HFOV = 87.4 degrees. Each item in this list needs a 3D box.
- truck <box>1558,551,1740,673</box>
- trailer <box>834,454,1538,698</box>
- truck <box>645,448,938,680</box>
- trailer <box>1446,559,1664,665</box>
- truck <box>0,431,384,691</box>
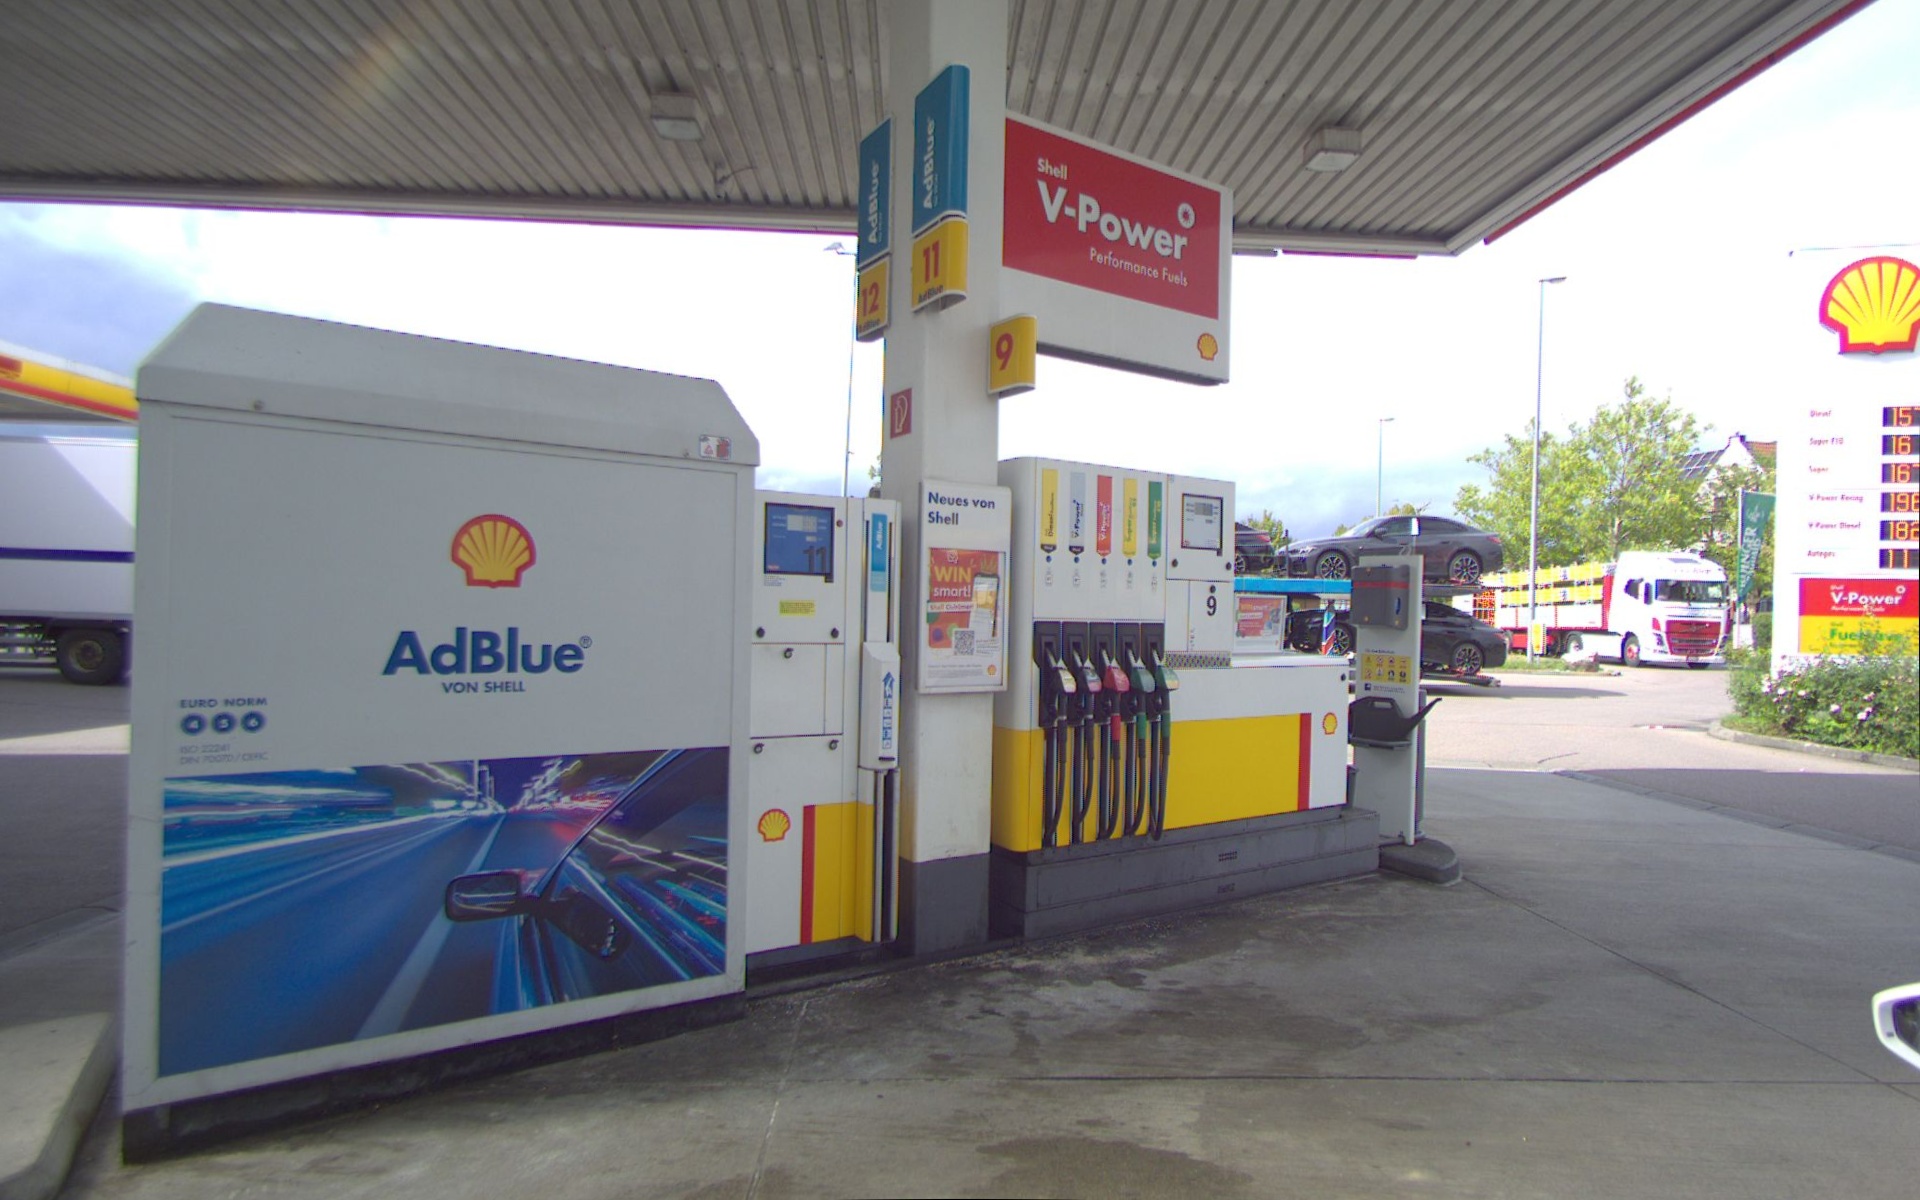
[{"bbox_3d":[24.260,0.417,35.760,2.686,3.897,5.921,2,0,5],"label":"truck"},{"bbox_3d":[4.561,-0.472,21.594,14.077,4.481,2.746,2,0,0],"label":"trailer"},{"bbox_3d":[-3.414,-0.708,21.556,5.713,4.479,2.750,2,0,0],"label":"truck"},{"bbox_3d":[24.870,0.472,43.185,2.684,3.826,12.718,2,0,5],"label":"trailer"},{"bbox_3d":[-17.266,-0.742,17.512,12.654,4.092,2.534,2,0,-3],"label":"truck"}]
